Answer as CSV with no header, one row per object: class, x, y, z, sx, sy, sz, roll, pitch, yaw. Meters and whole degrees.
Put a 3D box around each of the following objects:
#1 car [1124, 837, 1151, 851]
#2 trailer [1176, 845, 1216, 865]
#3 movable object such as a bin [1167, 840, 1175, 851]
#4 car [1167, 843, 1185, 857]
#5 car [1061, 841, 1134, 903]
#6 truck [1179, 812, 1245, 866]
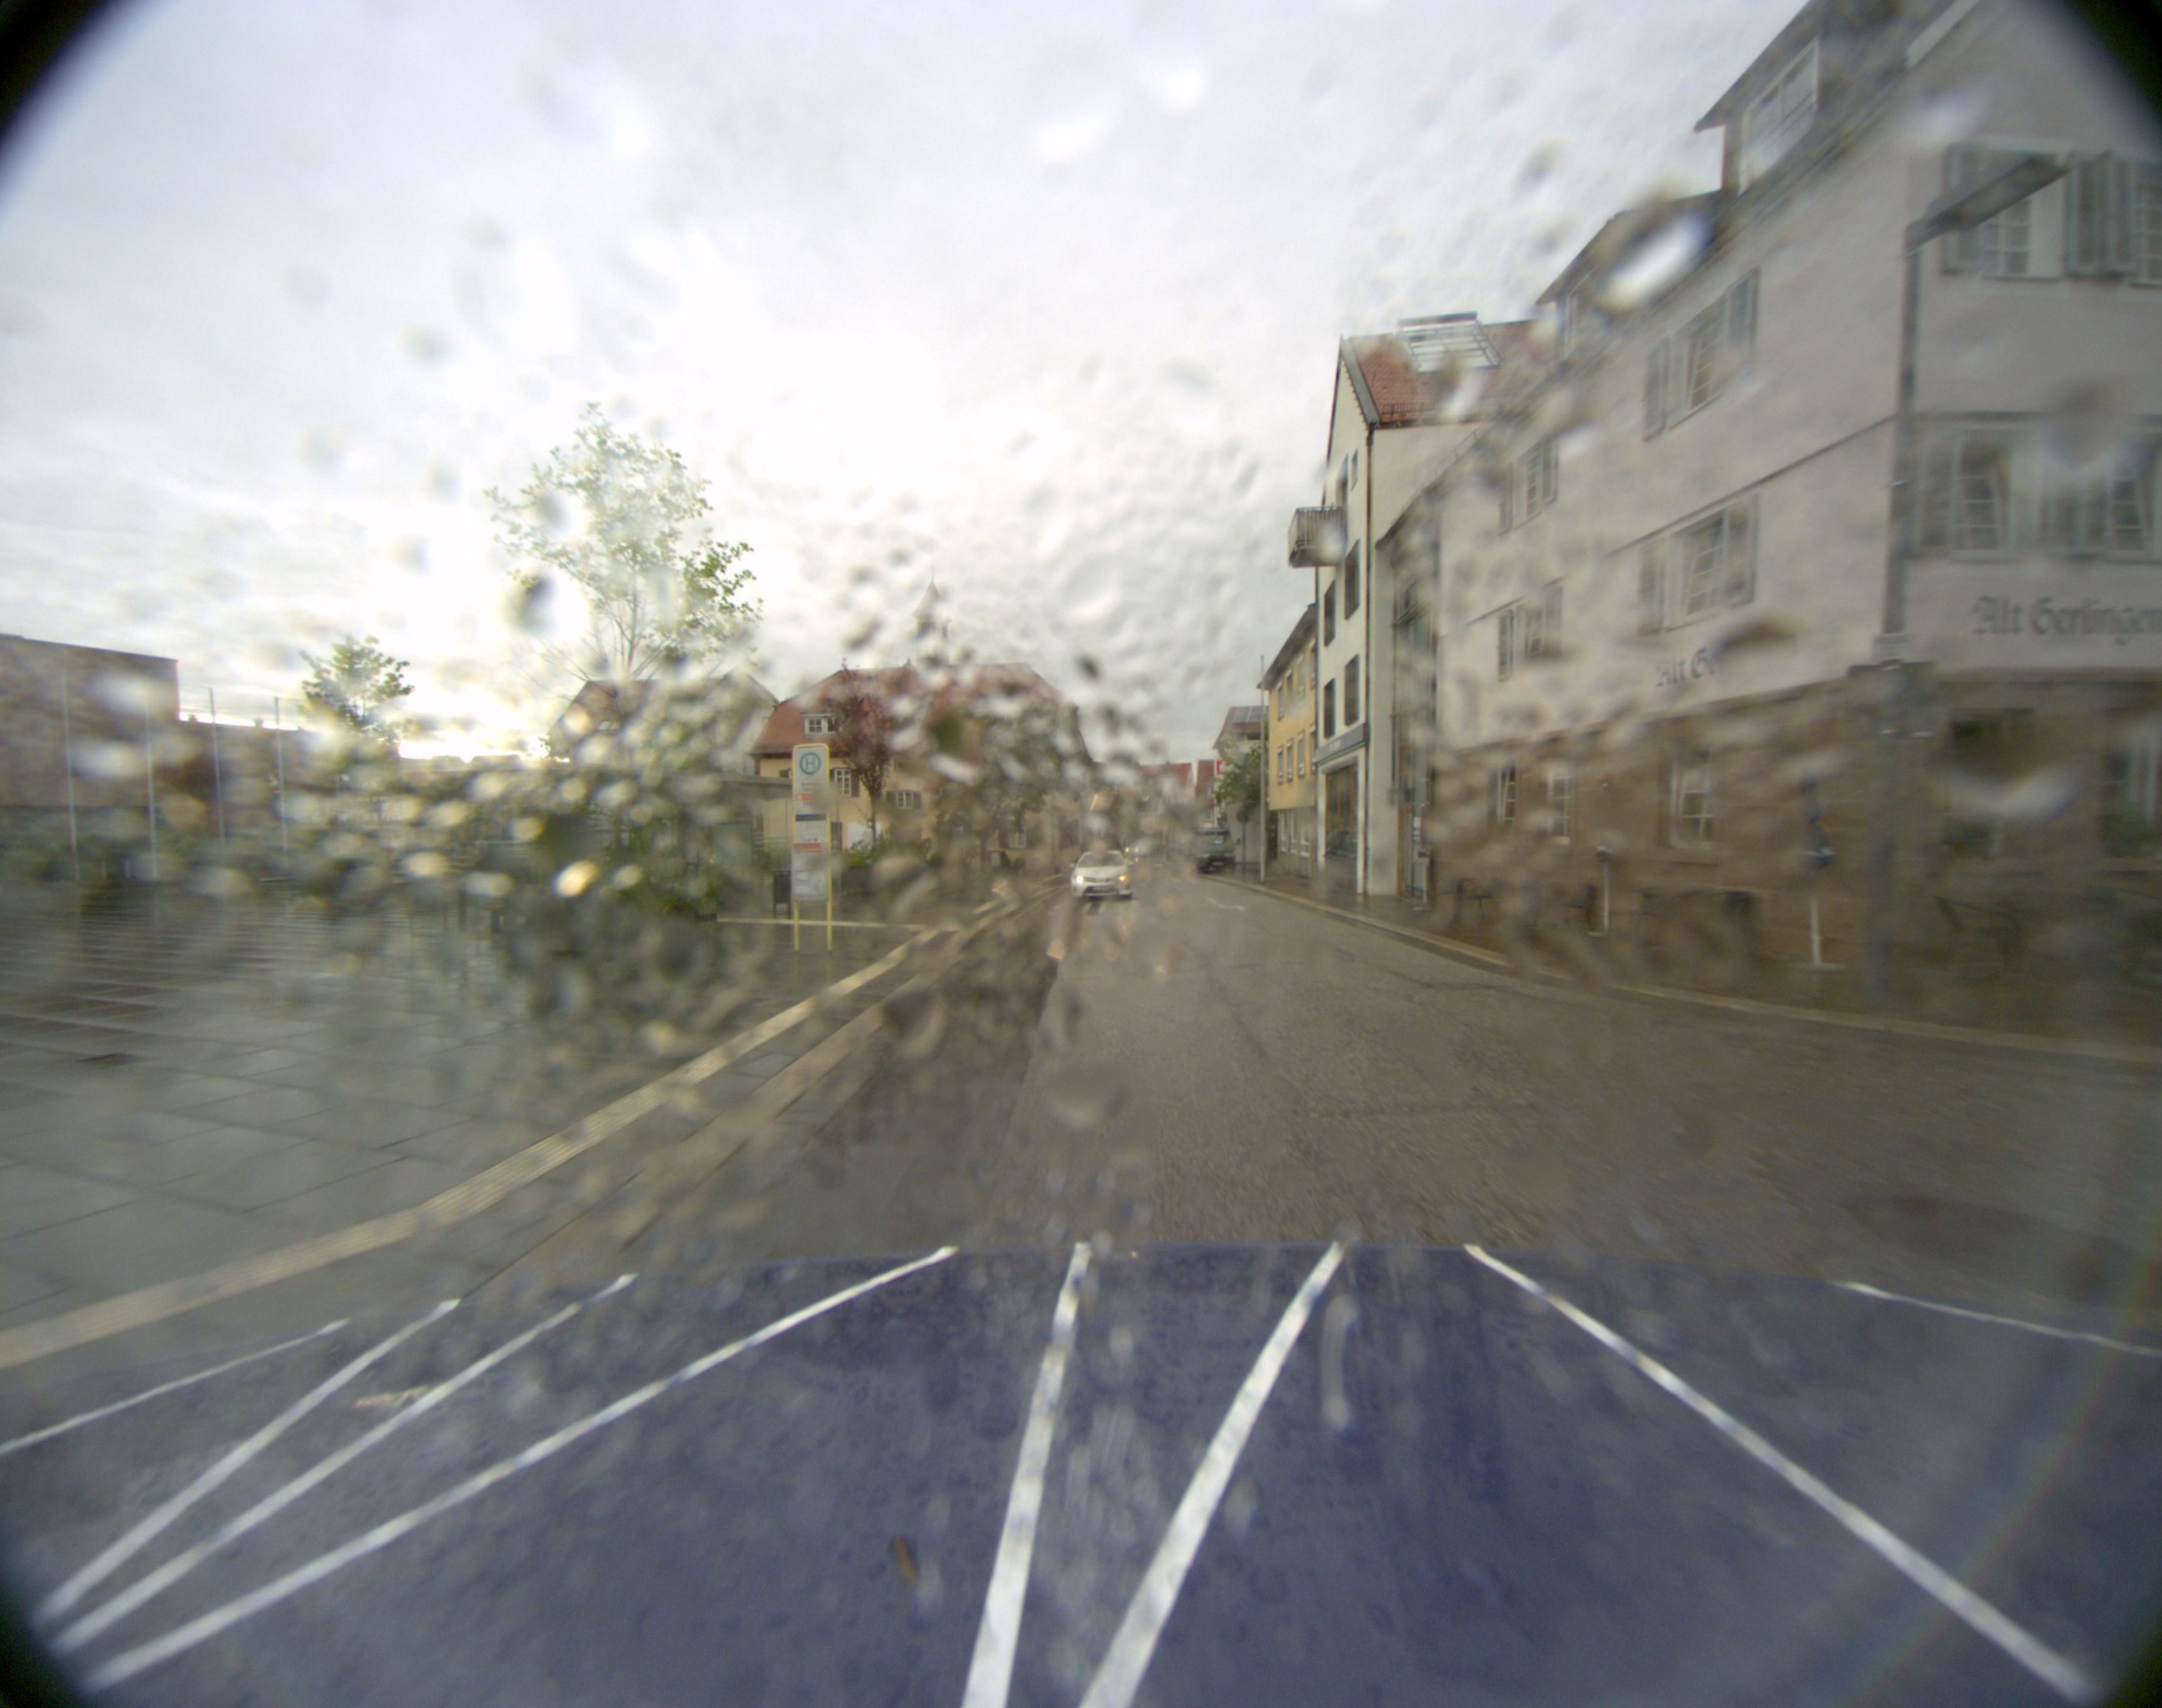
car,6.206,-1.121,82.537,1.865,1.452,4.005,1,2,20
trailer,6.757,0.071,44.942,1.857,1.118,3.019,-1,0,-1
movable object such as a bin,8.516,-0.797,72.098,0.697,1.071,0.645,-2,2,6
car,10.947,-0.463,87.474,1.805,1.434,4.002,-1,2,10
car,0.596,0.444,22.814,1.867,1.578,4.614,-1,2,5
truck,6.788,-0.691,40.194,2.405,2.579,6.483,-1,0,0
